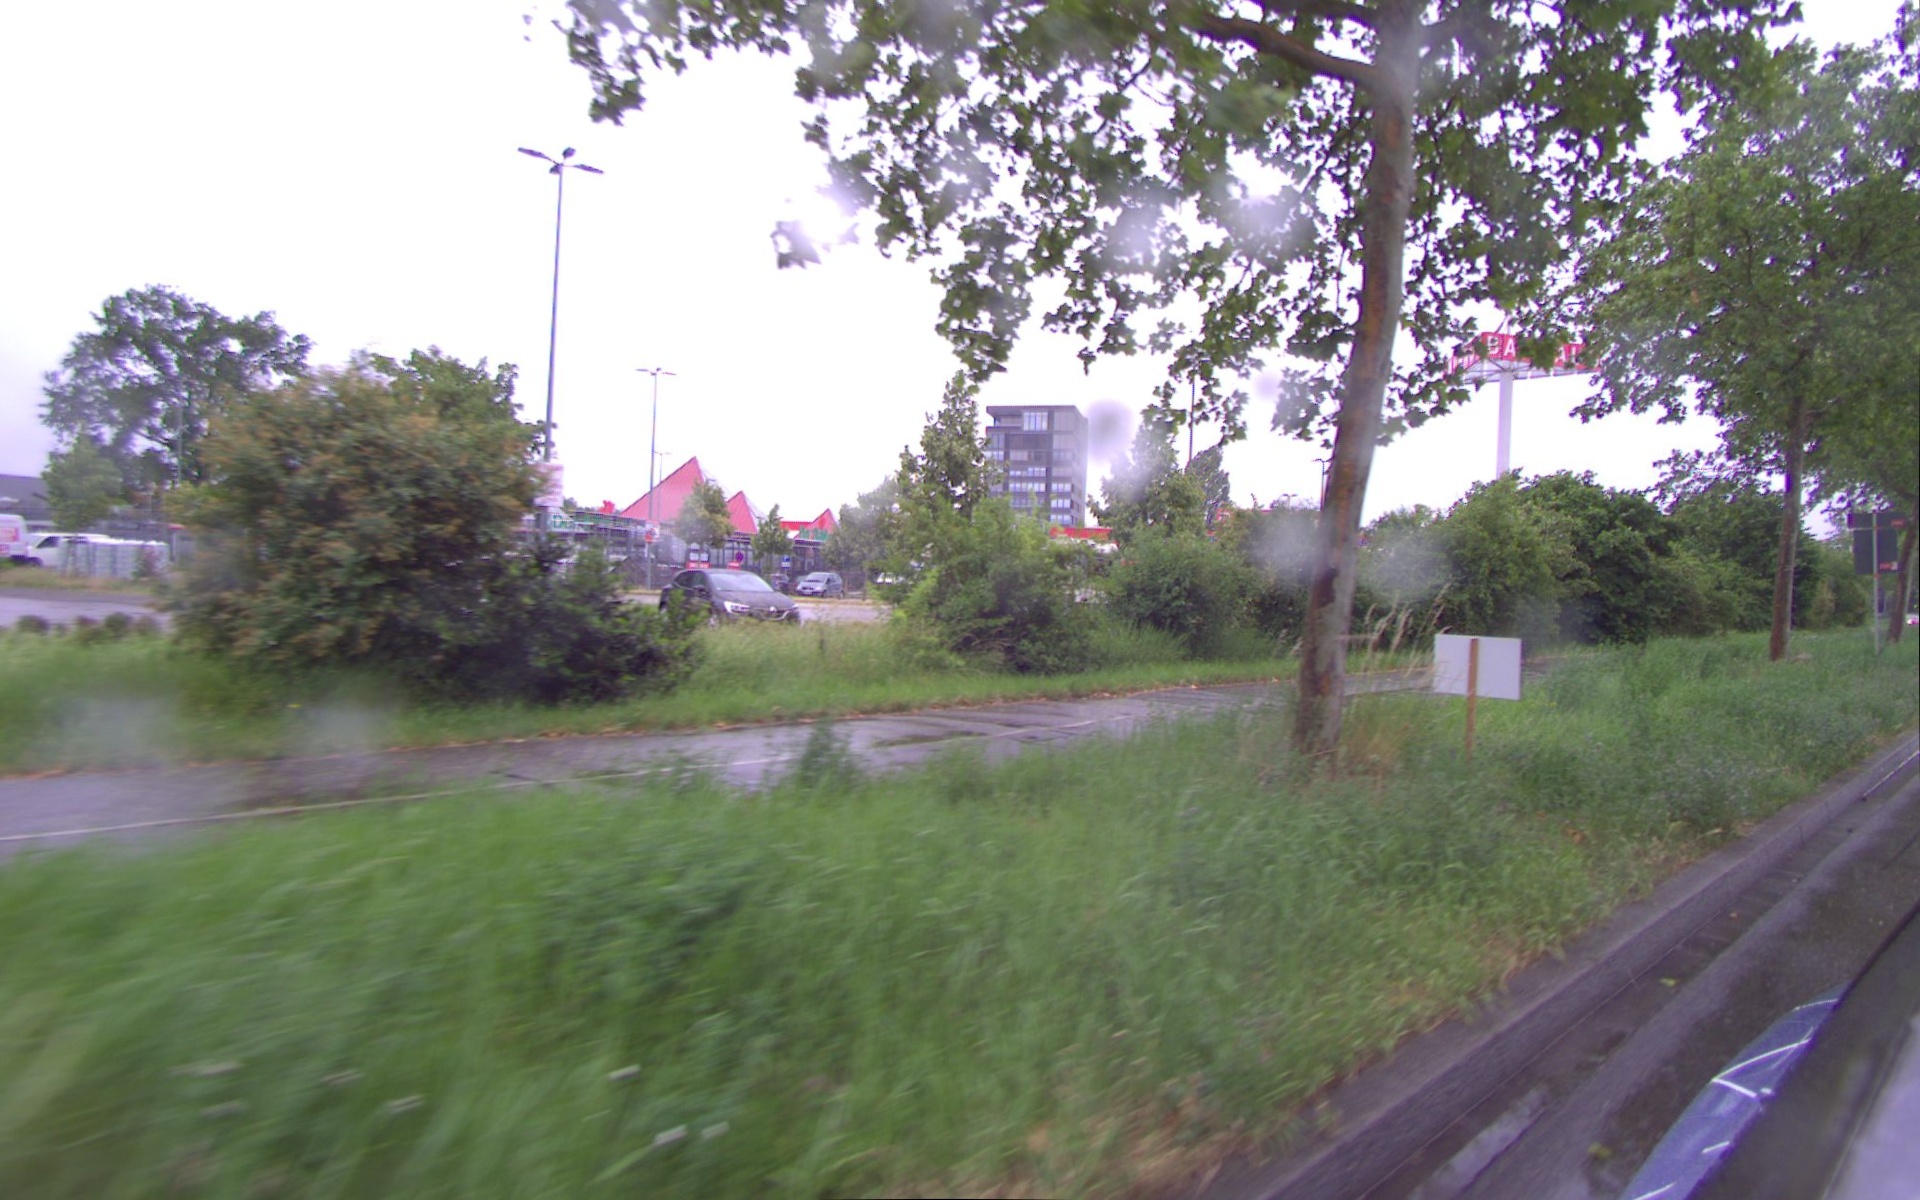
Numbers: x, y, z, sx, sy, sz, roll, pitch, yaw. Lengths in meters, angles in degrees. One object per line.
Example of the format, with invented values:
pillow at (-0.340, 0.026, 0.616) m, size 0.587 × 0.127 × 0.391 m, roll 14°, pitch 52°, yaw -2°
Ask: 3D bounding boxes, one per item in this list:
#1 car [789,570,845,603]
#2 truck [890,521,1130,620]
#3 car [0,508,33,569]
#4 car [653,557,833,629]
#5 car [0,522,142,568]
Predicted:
car at (-8.062, -0.793, 57.366) m, size 1.968 × 1.738 × 3.989 m, roll 2°, pitch 2°, yaw 10°
truck at (1.157, -0.724, 26.840) m, size 6.529 × 2.333 × 2.186 m, roll 1°, pitch 1°, yaw 43°
car at (-39.509, -2.444, 38.919) m, size 1.969 × 2.364 × 5.652 m, roll 0°, pitch 1°, yaw 11°
car at (-4.702, -0.165, 21.610) m, size 1.967 × 1.382 × 3.990 m, roll -1°, pitch 1°, yaw -44°
car at (-46.842, -2.818, 53.267) m, size 1.977 × 2.170 × 5.628 m, roll 0°, pitch 1°, yaw 23°
